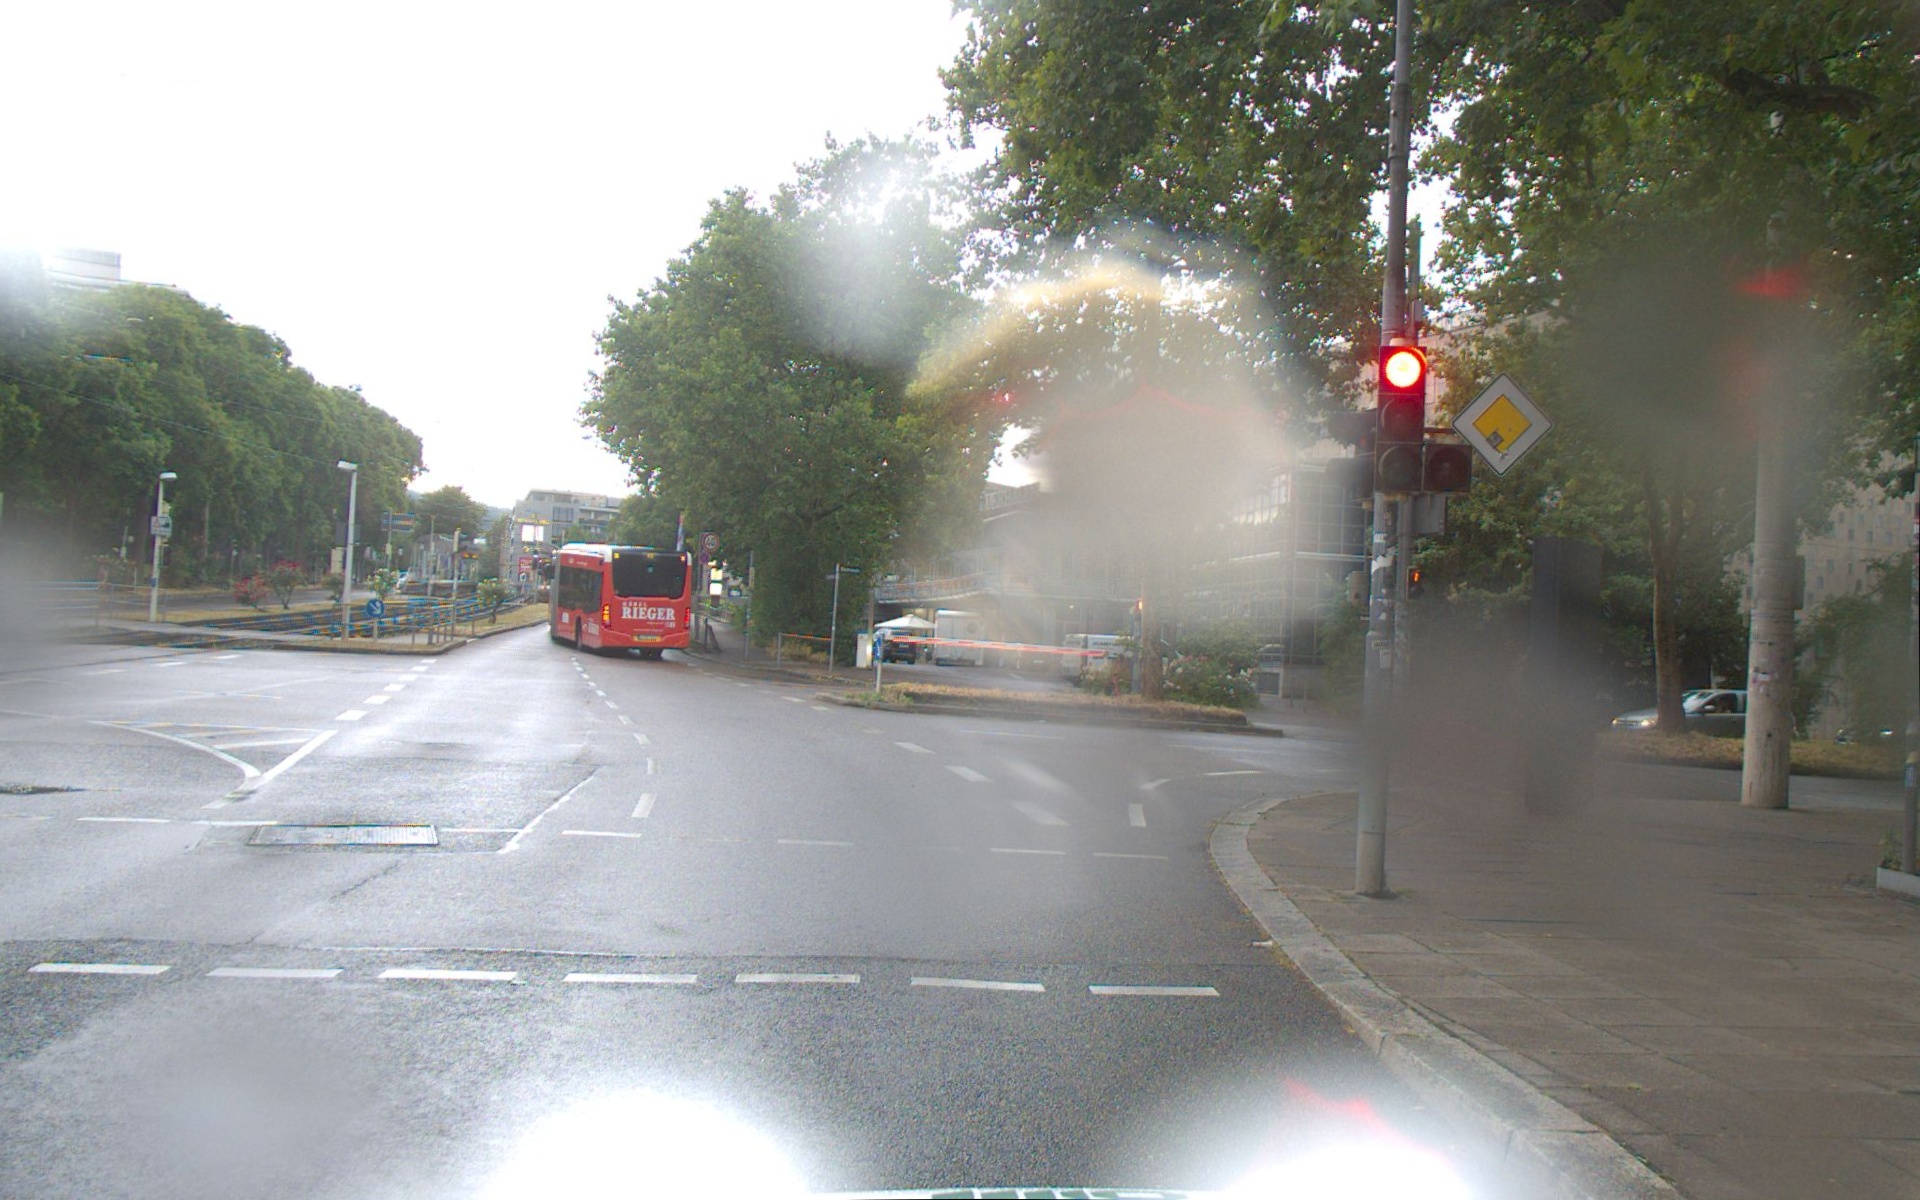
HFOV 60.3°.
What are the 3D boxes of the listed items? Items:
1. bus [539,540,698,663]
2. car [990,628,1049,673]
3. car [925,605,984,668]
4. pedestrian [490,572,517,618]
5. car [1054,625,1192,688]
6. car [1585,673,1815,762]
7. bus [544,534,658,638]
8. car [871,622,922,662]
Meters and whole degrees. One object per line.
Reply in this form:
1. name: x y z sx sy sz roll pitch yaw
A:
1. bus: -10.396 0.019 49.504 2.620 3.165 9.117 5 -1 -24
2. car: 3.002 2.548 84.452 1.959 2.049 3.987 5 -1 -13
3. car: -0.348 1.992 90.382 2.496 3.188 5.024 4 -1 -6
4. pedestrian: -17.075 -0.170 61.894 0.724 1.668 0.869 4 -2 -8
5. car: 6.120 2.132 62.109 4.682 1.977 1.986 5 -2 -23
6. car: 15.504 2.449 34.768 3.912 1.467 1.997 5 -1 -7
7. bus: -12.491 -0.371 58.299 2.501 3.165 9.444 4 -1 -5
8. car: -3.412 2.210 87.743 1.959 1.892 3.988 5 -1 -12
